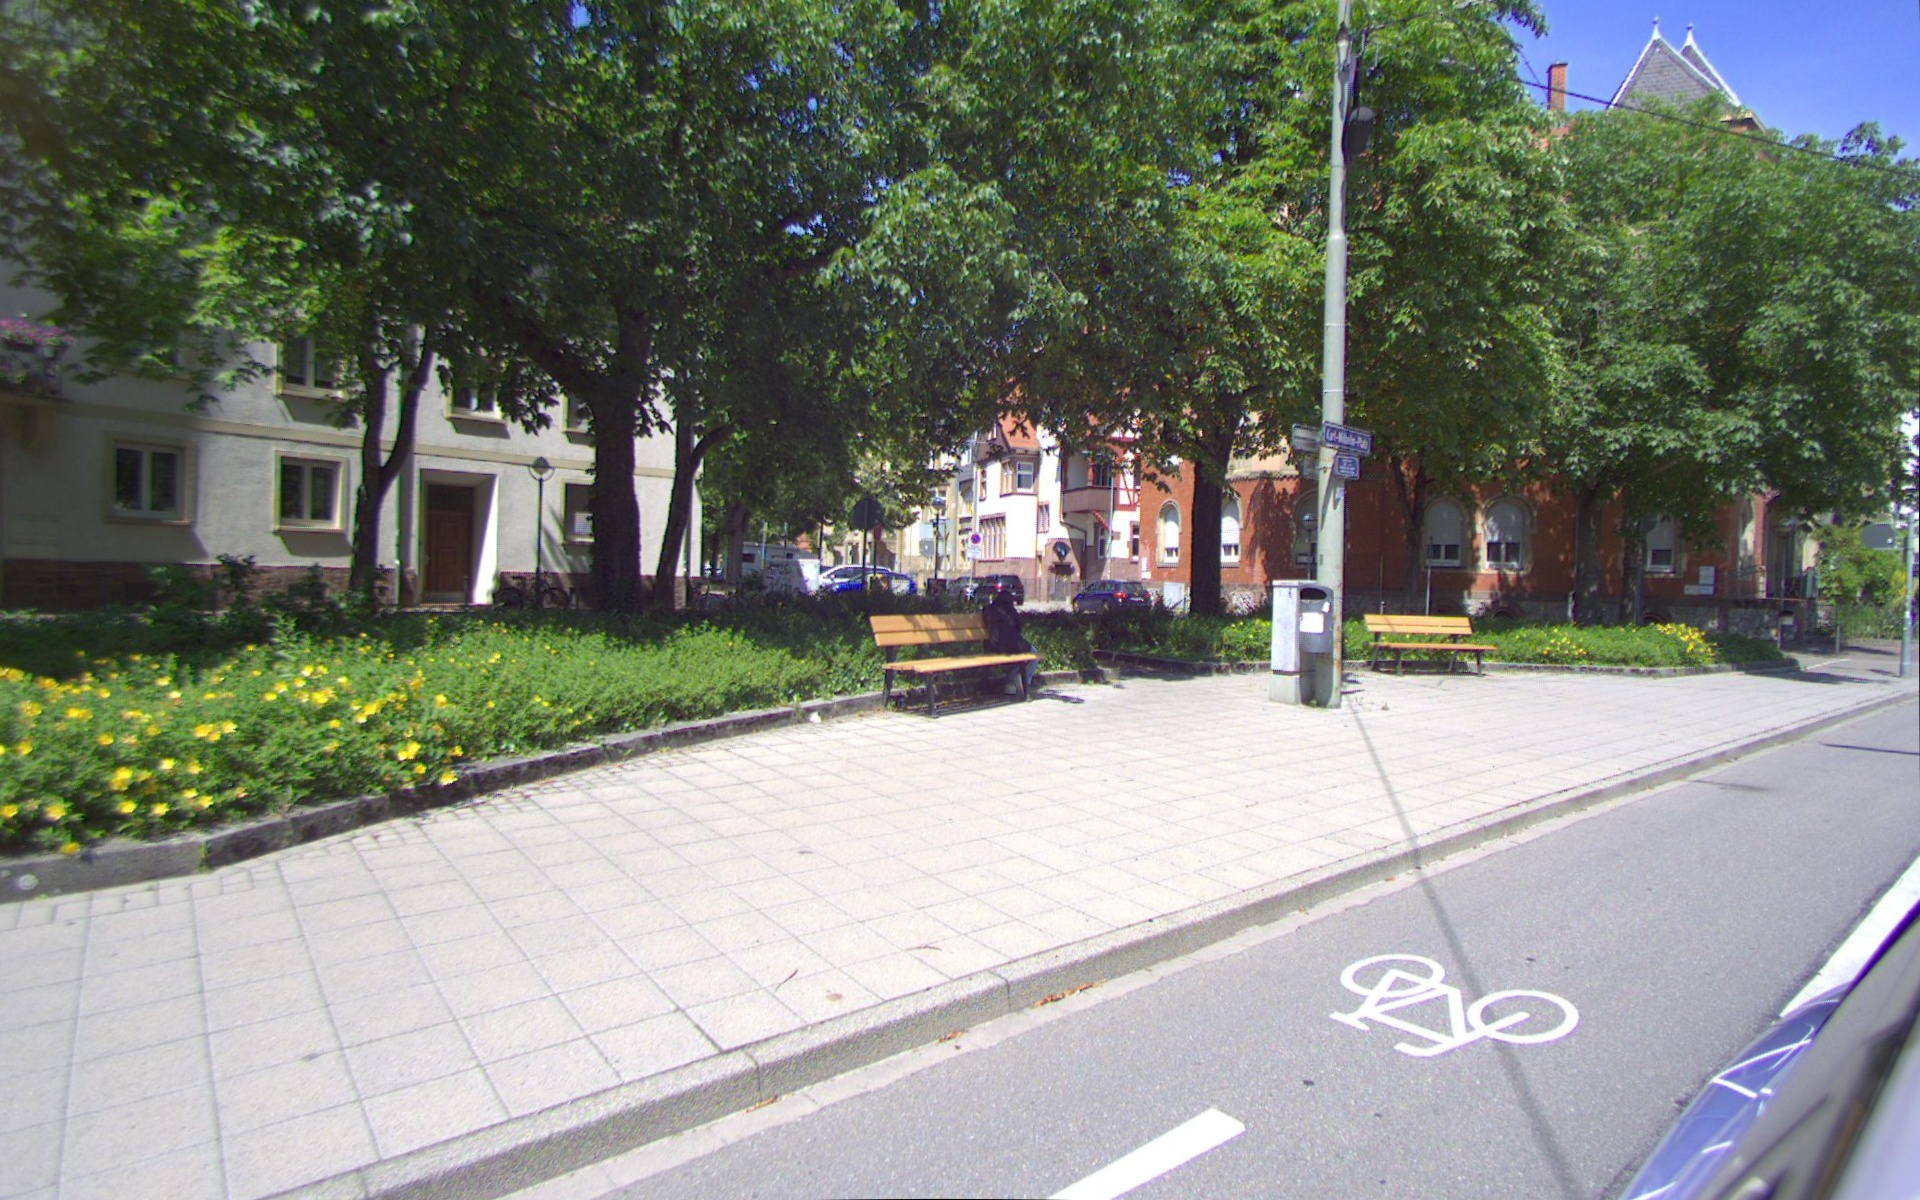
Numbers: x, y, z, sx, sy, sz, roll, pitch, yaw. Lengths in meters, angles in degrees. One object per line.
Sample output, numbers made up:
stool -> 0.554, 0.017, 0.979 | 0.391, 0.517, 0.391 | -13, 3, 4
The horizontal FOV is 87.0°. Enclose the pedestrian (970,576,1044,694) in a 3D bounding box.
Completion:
pedestrian -> 0.462, 0.337, 10.037 | 0.469, 1.105, 0.511 | 2, 2, -34

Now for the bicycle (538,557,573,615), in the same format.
bicycle -> -9.599, -0.347, 23.991 | 0.536, 1.316, 2.162 | 0, 1, -28

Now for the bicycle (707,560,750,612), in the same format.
bicycle -> -6.127, -0.387, 26.714 | 0.536, 1.316, 2.162 | 0, 1, -28

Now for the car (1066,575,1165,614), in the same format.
car -> 6.241, -0.261, 41.164 | 1.865, 1.459, 4.769 | 0, 1, -21

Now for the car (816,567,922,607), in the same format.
car -> -3.622, -0.511, 40.020 | 3.807, 1.447, 1.731 | 2, 0, -21

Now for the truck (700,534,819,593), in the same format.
truck -> -12.009, -2.127, 60.621 | 6.685, 3.193, 1.939 | 2, 0, -19

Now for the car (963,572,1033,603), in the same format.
car -> 1.984, -0.697, 54.660 | 1.946, 1.551, 5.503 | 0, 1, -19

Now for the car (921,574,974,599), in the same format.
car -> -0.810, -0.875, 63.428 | 1.865, 1.482, 4.626 | 0, 1, -21

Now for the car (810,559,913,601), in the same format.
car -> -4.374, -0.893, 44.980 | 4.176, 1.673, 1.731 | 2, 0, -21

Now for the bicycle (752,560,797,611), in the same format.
bicycle -> -4.989, -0.408, 27.085 | 0.536, 1.316, 2.162 | 0, 1, -28

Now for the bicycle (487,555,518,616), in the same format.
bicycle -> -10.764, -0.354, 23.762 | 0.505, 1.361, 2.332 | 0, 1, -28

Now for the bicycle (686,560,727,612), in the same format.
bicycle -> -6.646, -0.380, 26.432 | 0.536, 1.316, 2.162 | 0, 1, -28

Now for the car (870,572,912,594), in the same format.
car -> -5.091, -1.248, 74.503 | 1.865, 1.575, 4.411 | 0, 1, -21

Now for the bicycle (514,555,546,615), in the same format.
bicycle -> -10.219, -0.365, 24.024 | 0.505, 1.364, 2.247 | 0, 1, -28
